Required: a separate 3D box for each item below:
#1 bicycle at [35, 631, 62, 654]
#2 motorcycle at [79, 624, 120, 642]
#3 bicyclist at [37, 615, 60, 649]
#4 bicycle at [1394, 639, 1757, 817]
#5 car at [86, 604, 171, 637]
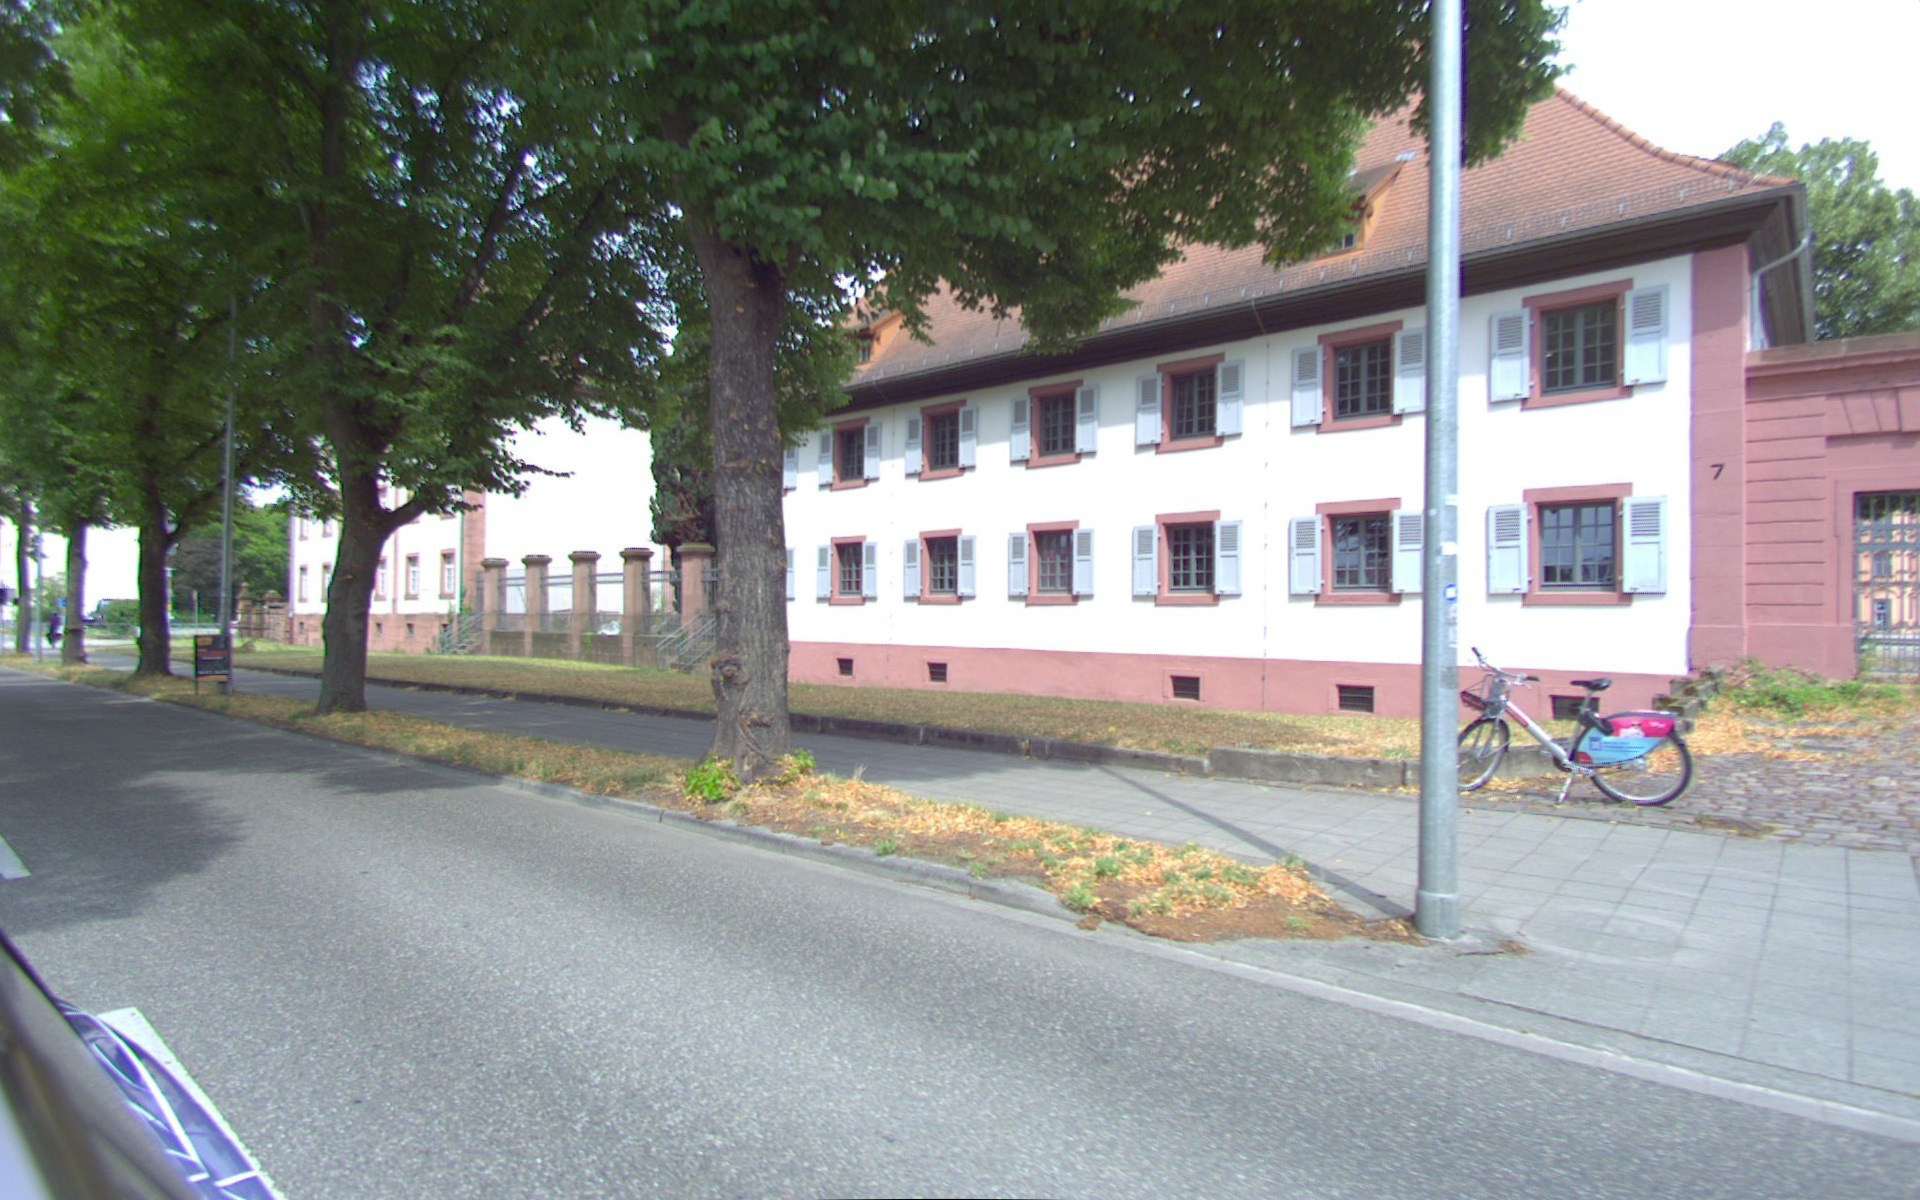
[{"bbox_3d":[-46.520,2.134,51.656,2.150,1.103,0.715,-2,1,41],"label":"bicycle"},{"bbox_3d":[-60.179,2.307,70.796,2.066,1.151,0.725,4,-4,-45],"label":"motorcycle"},{"bbox_3d":[-46.509,1.640,51.628,0.958,1.668,0.715,-2,1,41],"label":"bicyclist"},{"bbox_3d":[4.547,0.876,7.614,2.224,1.103,0.715,-2,1,41],"label":"bicycle"},{"bbox_3d":[-70.323,1.697,85.619,2.354,2.571,5.254,-1,0,42],"label":"car"}]
